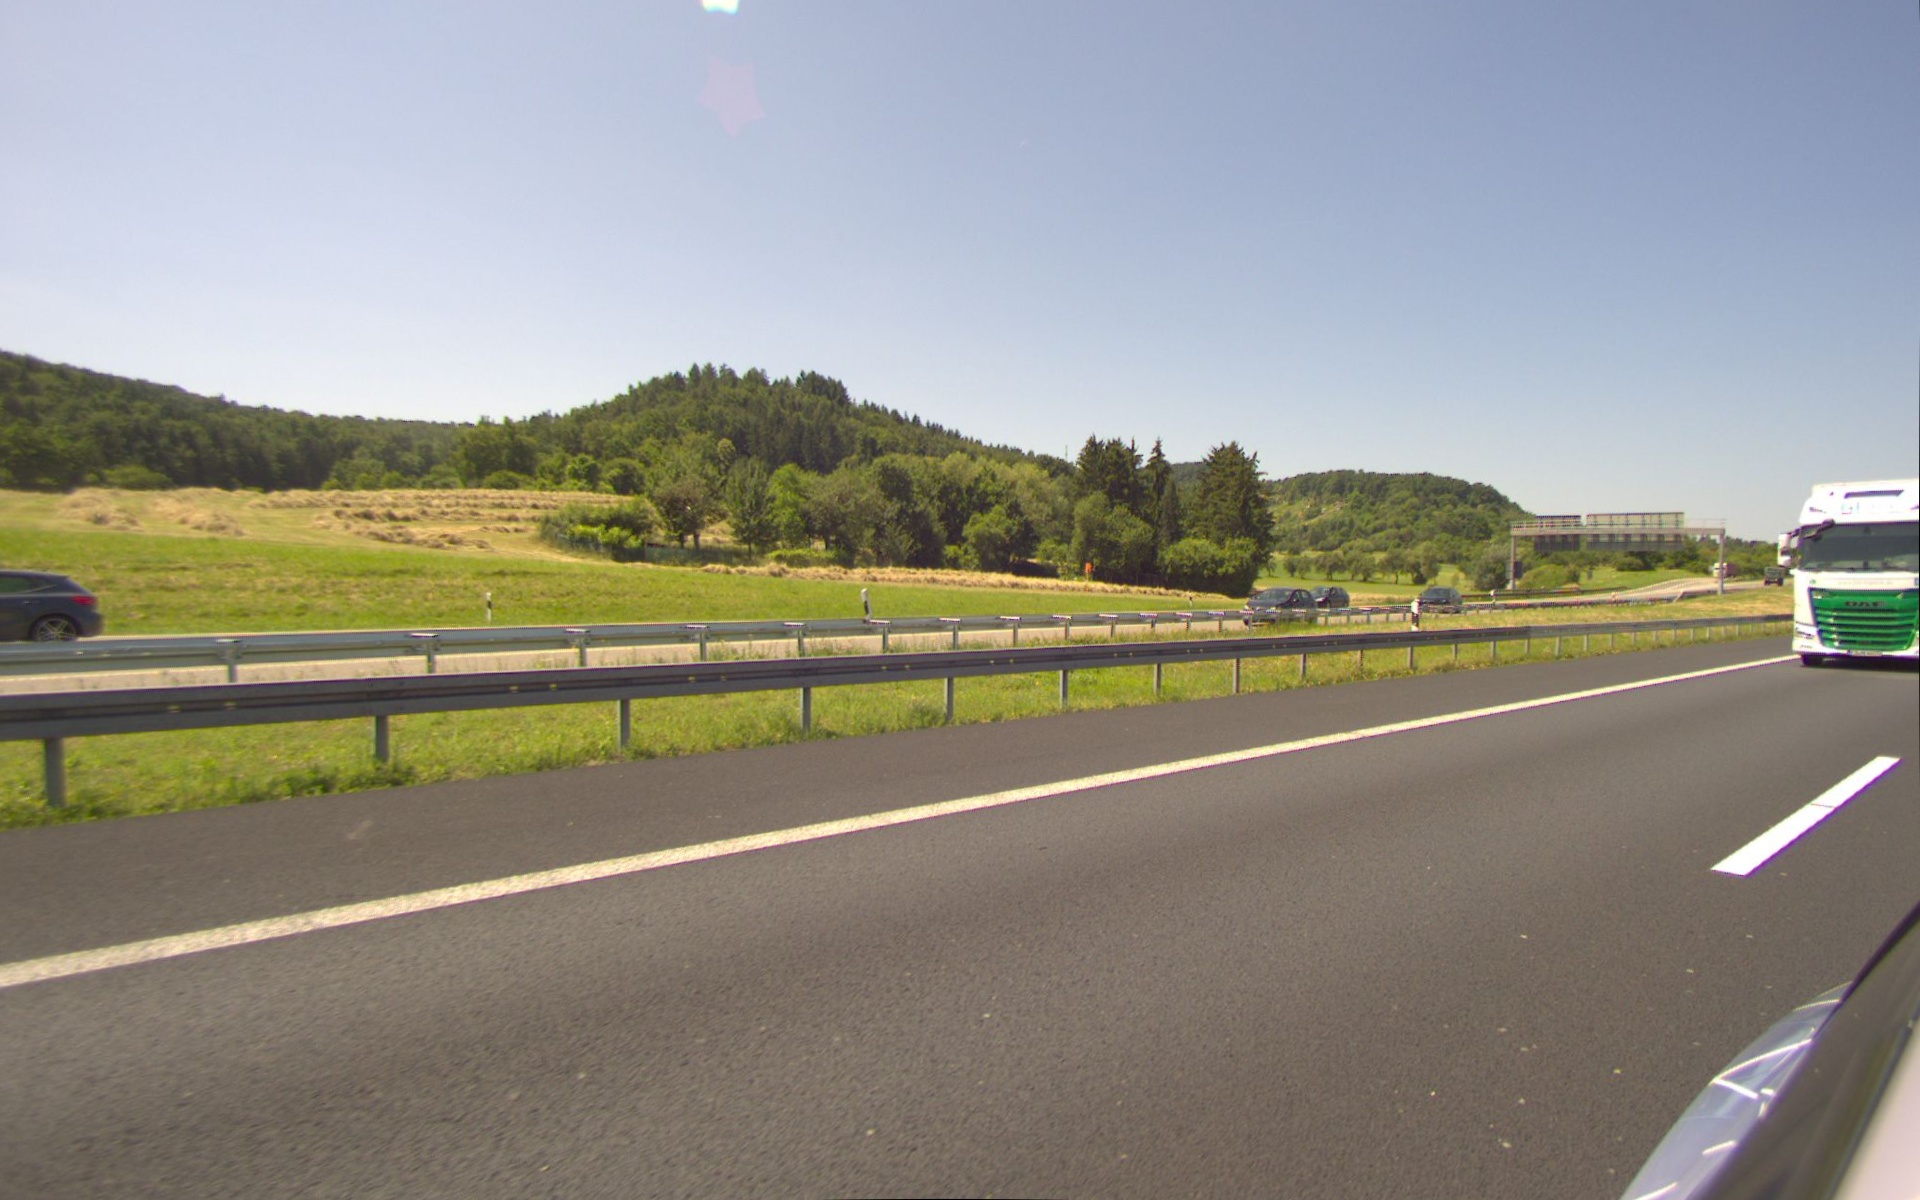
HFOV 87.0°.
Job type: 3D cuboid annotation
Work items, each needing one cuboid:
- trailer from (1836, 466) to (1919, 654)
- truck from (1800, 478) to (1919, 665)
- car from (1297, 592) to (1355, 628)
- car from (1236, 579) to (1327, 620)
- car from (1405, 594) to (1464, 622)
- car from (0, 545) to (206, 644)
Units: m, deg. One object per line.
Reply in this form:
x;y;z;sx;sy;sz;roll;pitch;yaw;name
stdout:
27.138;-0.955;27.775;14.635;4.241;2.660;-1;0;-41;trailer
20.002;-0.584;21.511;4.328;3.638;2.646;-1;0;-41;truck
21.688;0.569;59.842;1.991;2.039;3.942;0;0;40;car
12.019;-0.044;37.733;1.777;1.417;3.702;0;0;44;car
26.999;0.444;57.483;1.887;1.491;3.805;0;0;45;car
-16.827;-0.102;18.118;5.142;1.683;1.995;-1;0;-44;car
